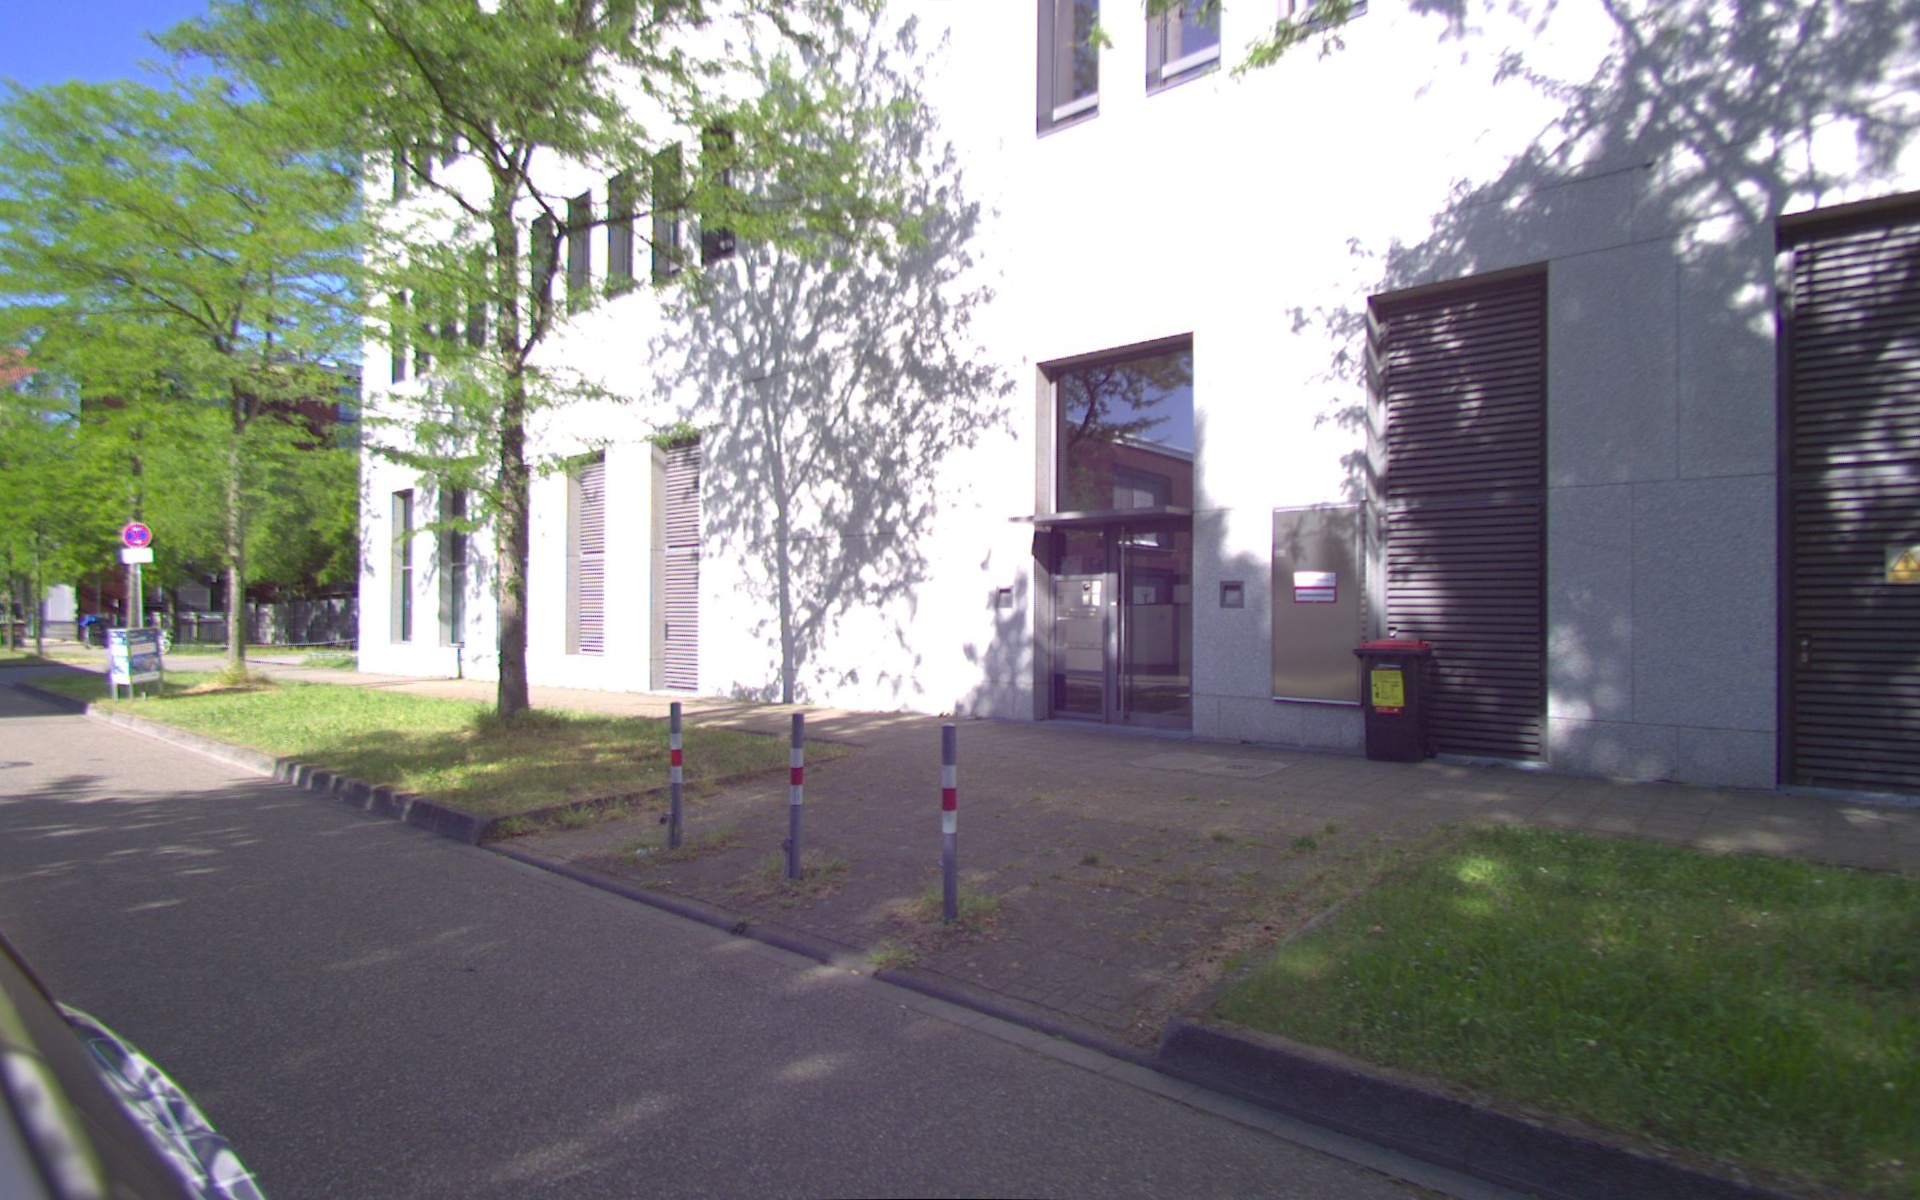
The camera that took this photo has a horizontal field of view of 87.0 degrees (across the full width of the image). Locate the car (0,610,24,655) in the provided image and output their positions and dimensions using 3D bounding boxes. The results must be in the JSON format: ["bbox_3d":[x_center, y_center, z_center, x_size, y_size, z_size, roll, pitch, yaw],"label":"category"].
[{"bbox_3d":[-56.789,1.918,57.231,1.985,2.560,5.420,-1,0,40],"label":"car"}]

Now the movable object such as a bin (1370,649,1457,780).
[{"bbox_3d":[3.948,0.970,8.804,0.543,1.048,0.587,-2,-1,39],"label":"movable object such as a bin"}]

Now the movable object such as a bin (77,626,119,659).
[{"bbox_3d":[-42.692,2.085,50.128,1.501,1.580,1.348,0,-1,-44],"label":"movable object such as a bin"}]

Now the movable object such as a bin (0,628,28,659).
[{"bbox_3d":[-49.143,2.235,52.017,1.342,1.580,1.508,-1,-1,32],"label":"movable object such as a bin"}]
